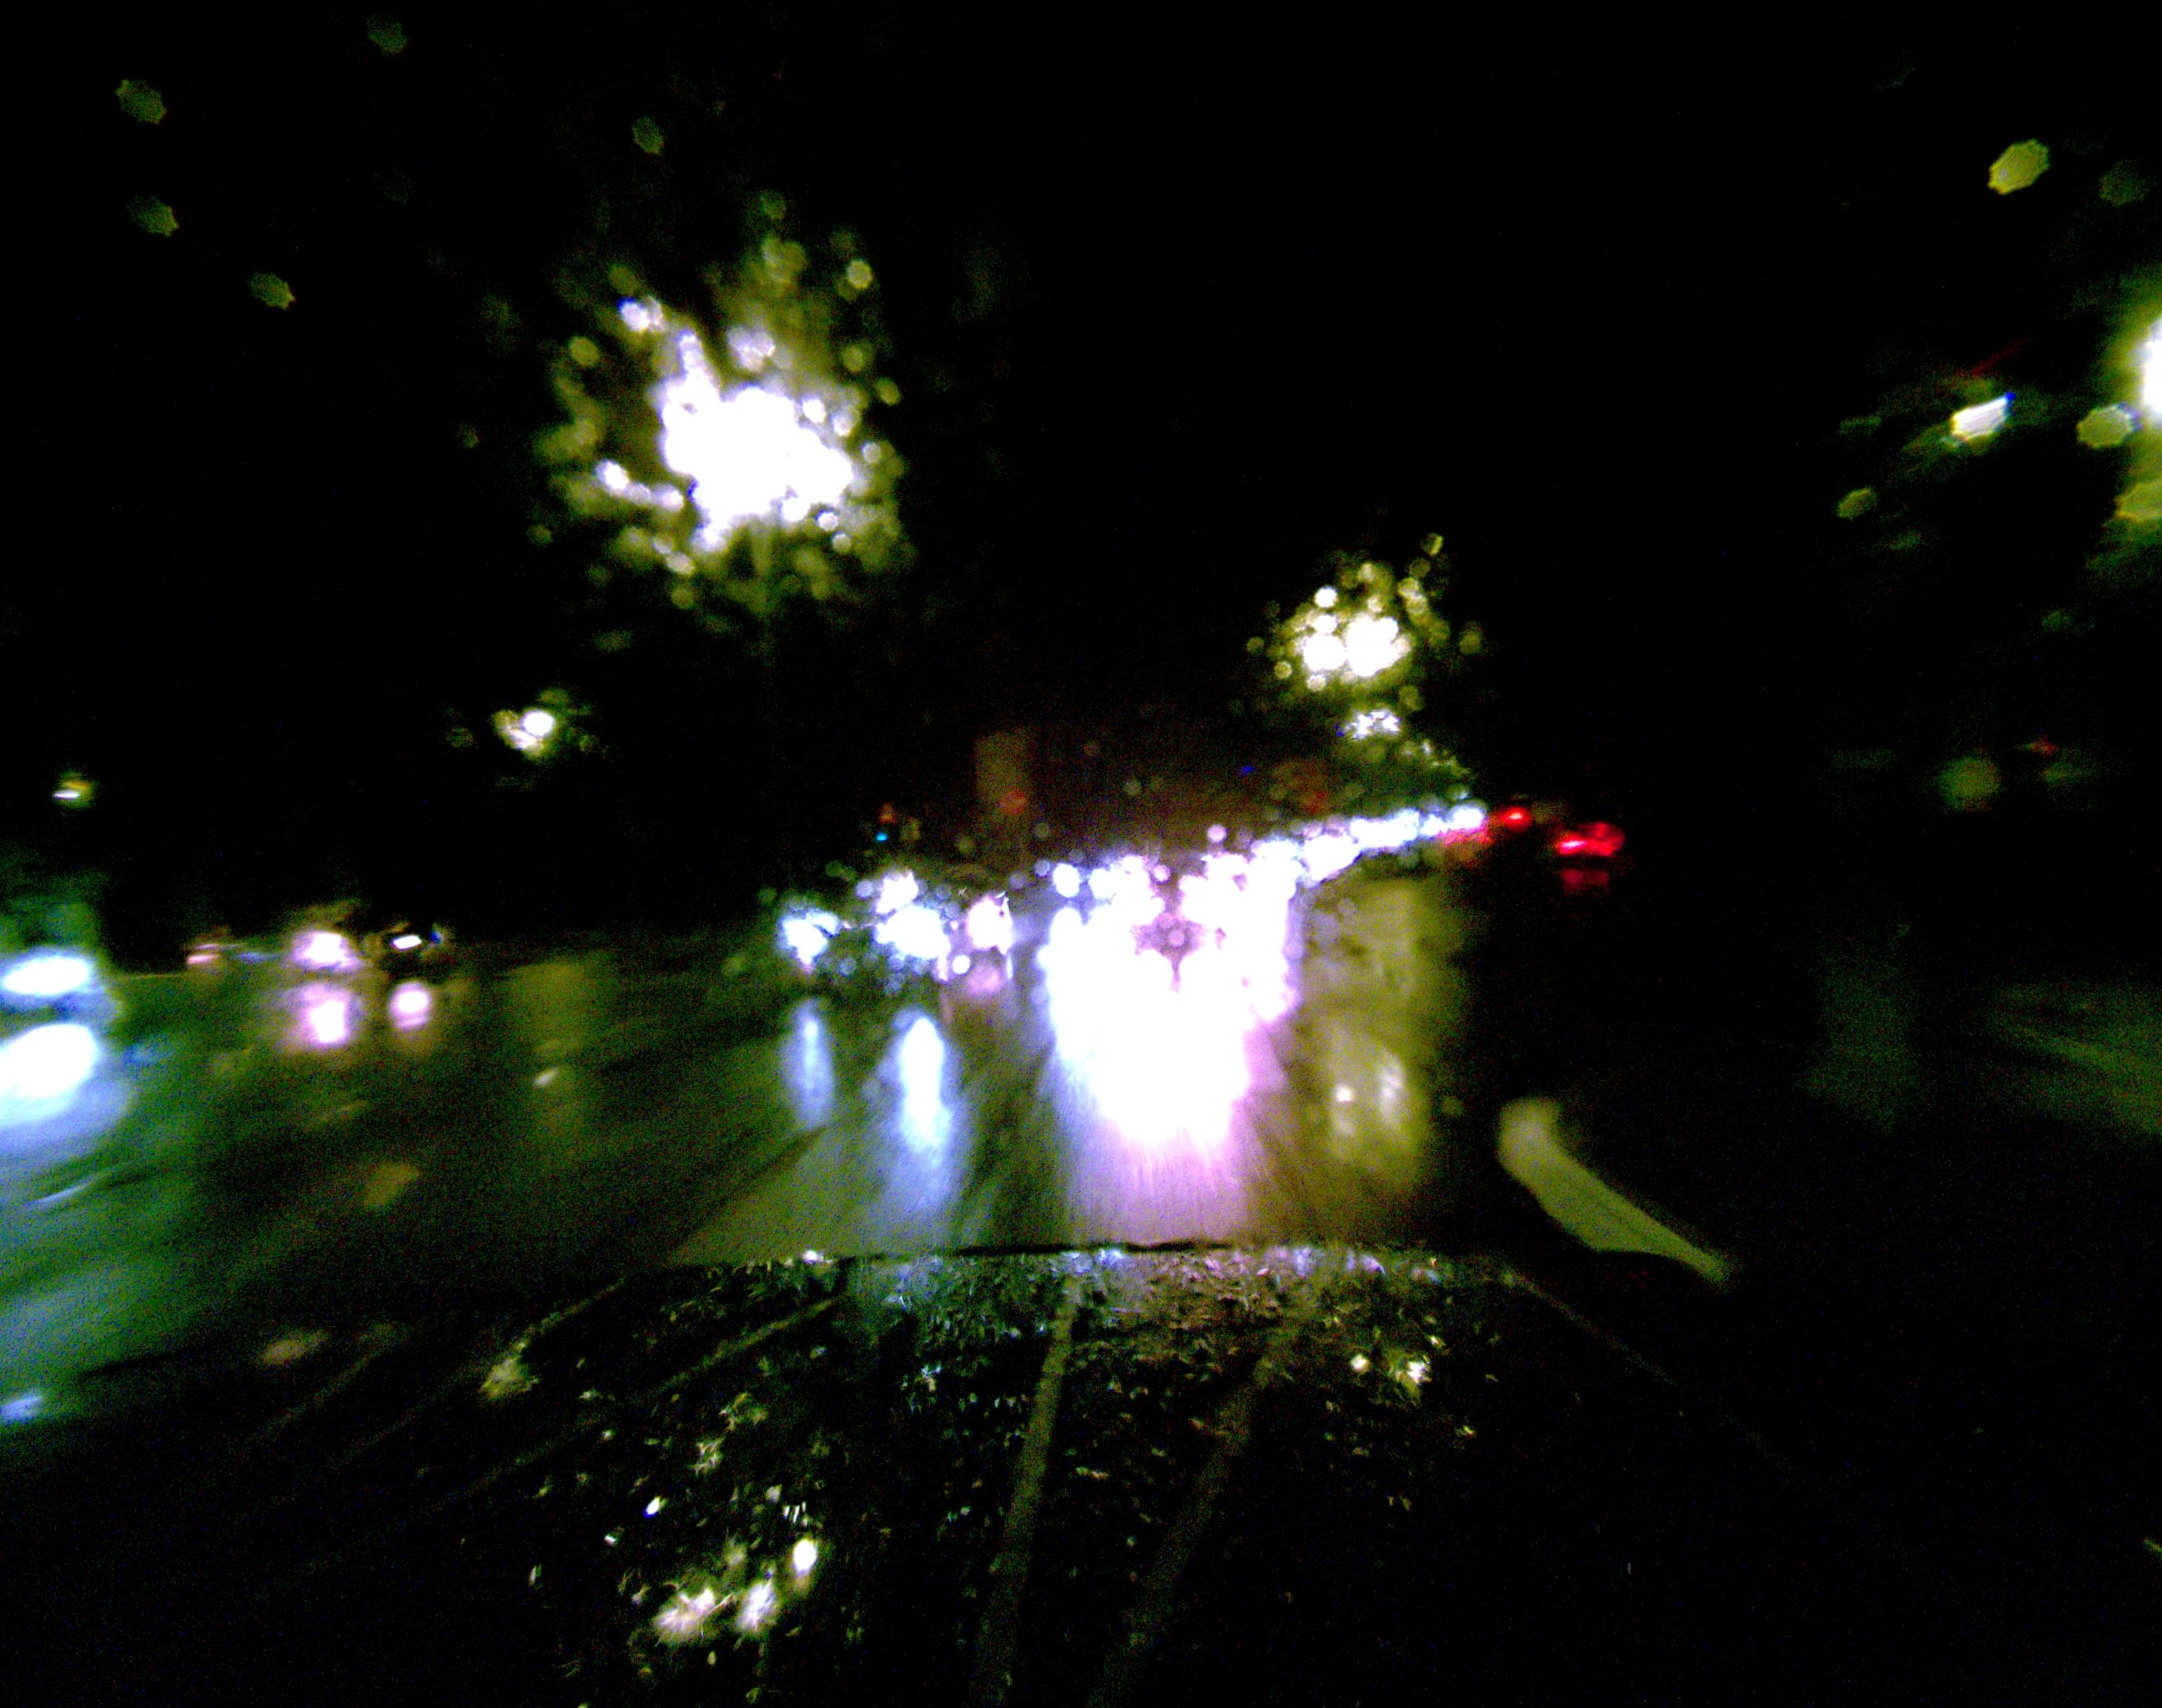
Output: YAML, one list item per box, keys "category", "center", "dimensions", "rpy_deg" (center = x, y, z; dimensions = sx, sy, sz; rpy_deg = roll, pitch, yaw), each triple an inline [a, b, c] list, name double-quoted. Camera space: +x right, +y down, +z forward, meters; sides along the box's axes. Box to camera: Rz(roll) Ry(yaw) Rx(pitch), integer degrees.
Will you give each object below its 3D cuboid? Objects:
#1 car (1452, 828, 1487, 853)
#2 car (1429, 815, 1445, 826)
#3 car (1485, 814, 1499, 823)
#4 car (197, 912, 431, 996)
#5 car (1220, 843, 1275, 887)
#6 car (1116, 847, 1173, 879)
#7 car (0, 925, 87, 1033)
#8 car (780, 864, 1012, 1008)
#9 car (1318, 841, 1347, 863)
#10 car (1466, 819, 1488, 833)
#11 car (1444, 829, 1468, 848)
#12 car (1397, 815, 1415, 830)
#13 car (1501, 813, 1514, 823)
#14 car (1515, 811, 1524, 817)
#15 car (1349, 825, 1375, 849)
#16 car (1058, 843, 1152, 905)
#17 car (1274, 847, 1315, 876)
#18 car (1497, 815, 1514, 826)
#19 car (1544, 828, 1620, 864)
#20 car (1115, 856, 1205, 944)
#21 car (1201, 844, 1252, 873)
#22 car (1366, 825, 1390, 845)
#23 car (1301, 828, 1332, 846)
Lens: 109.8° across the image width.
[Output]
- category: "car"
  center: [25.438, -0.908, 49.875]
  dimensions: [1.781, 1.452, 4.483]
  rpy_deg: [-3, 1, 24]
- category: "car"
  center: [63.162, -5.874, 134.726]
  dimensions: [1.995, 1.670, 4.006]
  rpy_deg: [-3, 2, 32]
- category: "car"
  center: [81.503, -7.000, 150.734]
  dimensions: [1.849, 1.562, 3.514]
  rpy_deg: [-2, 0, 36]
- category: "car"
  center: [-15.213, 1.966, 15.075]
  dimensions: [4.047, 1.337, 1.749]
  rpy_deg: [-4, 0, 21]
- category: "car"
  center: [6.740, 0.411, 30.516]
  dimensions: [1.604, 1.417, 3.393]
  rpy_deg: [-6, 1, 20]
- category: "car"
  center: [3.604, 0.469, 42.653]
  dimensions: [1.740, 1.410, 4.145]
  rpy_deg: [-4, 2, 26]
- category: "car"
  center: [-18.199, 2.043, 11.972]
  dimensions: [4.488, 1.510, 1.859]
  rpy_deg: [-4, 0, 21]
- category: "car"
  center: [-2.410, 1.014, 11.252]
  dimensions: [1.676, 1.497, 4.562]
  rpy_deg: [-4, 0, 8]
- category: "car"
  center: [20.019, -0.145, 60.427]
  dimensions: [1.603, 1.417, 3.394]
  rpy_deg: [-5, 1, 27]
- category: "car"
  center: [44.780, -3.133, 85.873]
  dimensions: [1.790, 1.448, 4.585]
  rpy_deg: [0, 2, 32]
- category: "car"
  center: [30.786, -1.302, 62.447]
  dimensions: [1.566, 1.425, 3.500]
  rpy_deg: [-3, 0, 24]
- category: "car"
  center: [50.459, -4.910, 117.982]
  dimensions: [1.869, 2.002, 3.910]
  rpy_deg: [-3, 2, 34]
- category: "car"
  center: [78.008, -6.571, 138.946]
  dimensions: [1.775, 1.585, 4.567]
  rpy_deg: [-1, 3, 32]
- category: "car"
  center: [101.924, -9.260, 176.611]
  dimensions: [1.712, 1.415, 4.674]
  rpy_deg: [0, 3, 30]
- category: "car"
  center: [26.584, -1.648, 71.752]
  dimensions: [1.995, 2.002, 4.004]
  rpy_deg: [-4, 2, 24]
- category: "car"
  center: [0.876, 0.541, 23.772]
  dimensions: [1.709, 1.513, 4.418]
  rpy_deg: [-4, 2, 17]
- category: "car"
  center: [12.990, 0.444, 46.117]
  dimensions: [1.603, 1.417, 3.394]
  rpy_deg: [-5, 1, 27]
- category: "car"
  center: [61.461, -4.838, 110.040]
  dimensions: [1.735, 1.487, 3.947]
  rpy_deg: [0, 3, 35]
- category: "car"
  center: [21.012, -0.341, 32.038]
  dimensions: [1.808, 1.345, 4.149]
  rpy_deg: [-2, 0, 21]
- category: "car"
  center: [1.622, 0.809, 14.858]
  dimensions: [1.496, 1.416, 3.391]
  rpy_deg: [-3, 0, 9]
- category: "car"
  center: [8.945, 0.240, 46.501]
  dimensions: [1.740, 1.410, 4.145]
  rpy_deg: [-3, 2, 30]
- category: "car"
  center: [32.120, -2.077, 82.107]
  dimensions: [1.965, 1.784, 4.005]
  rpy_deg: [-3, 2, 27]
- category: "car"
  center: [23.591, -1.737, 76.019]
  dimensions: [1.995, 1.590, 4.398]
  rpy_deg: [-2, 3, 29]
